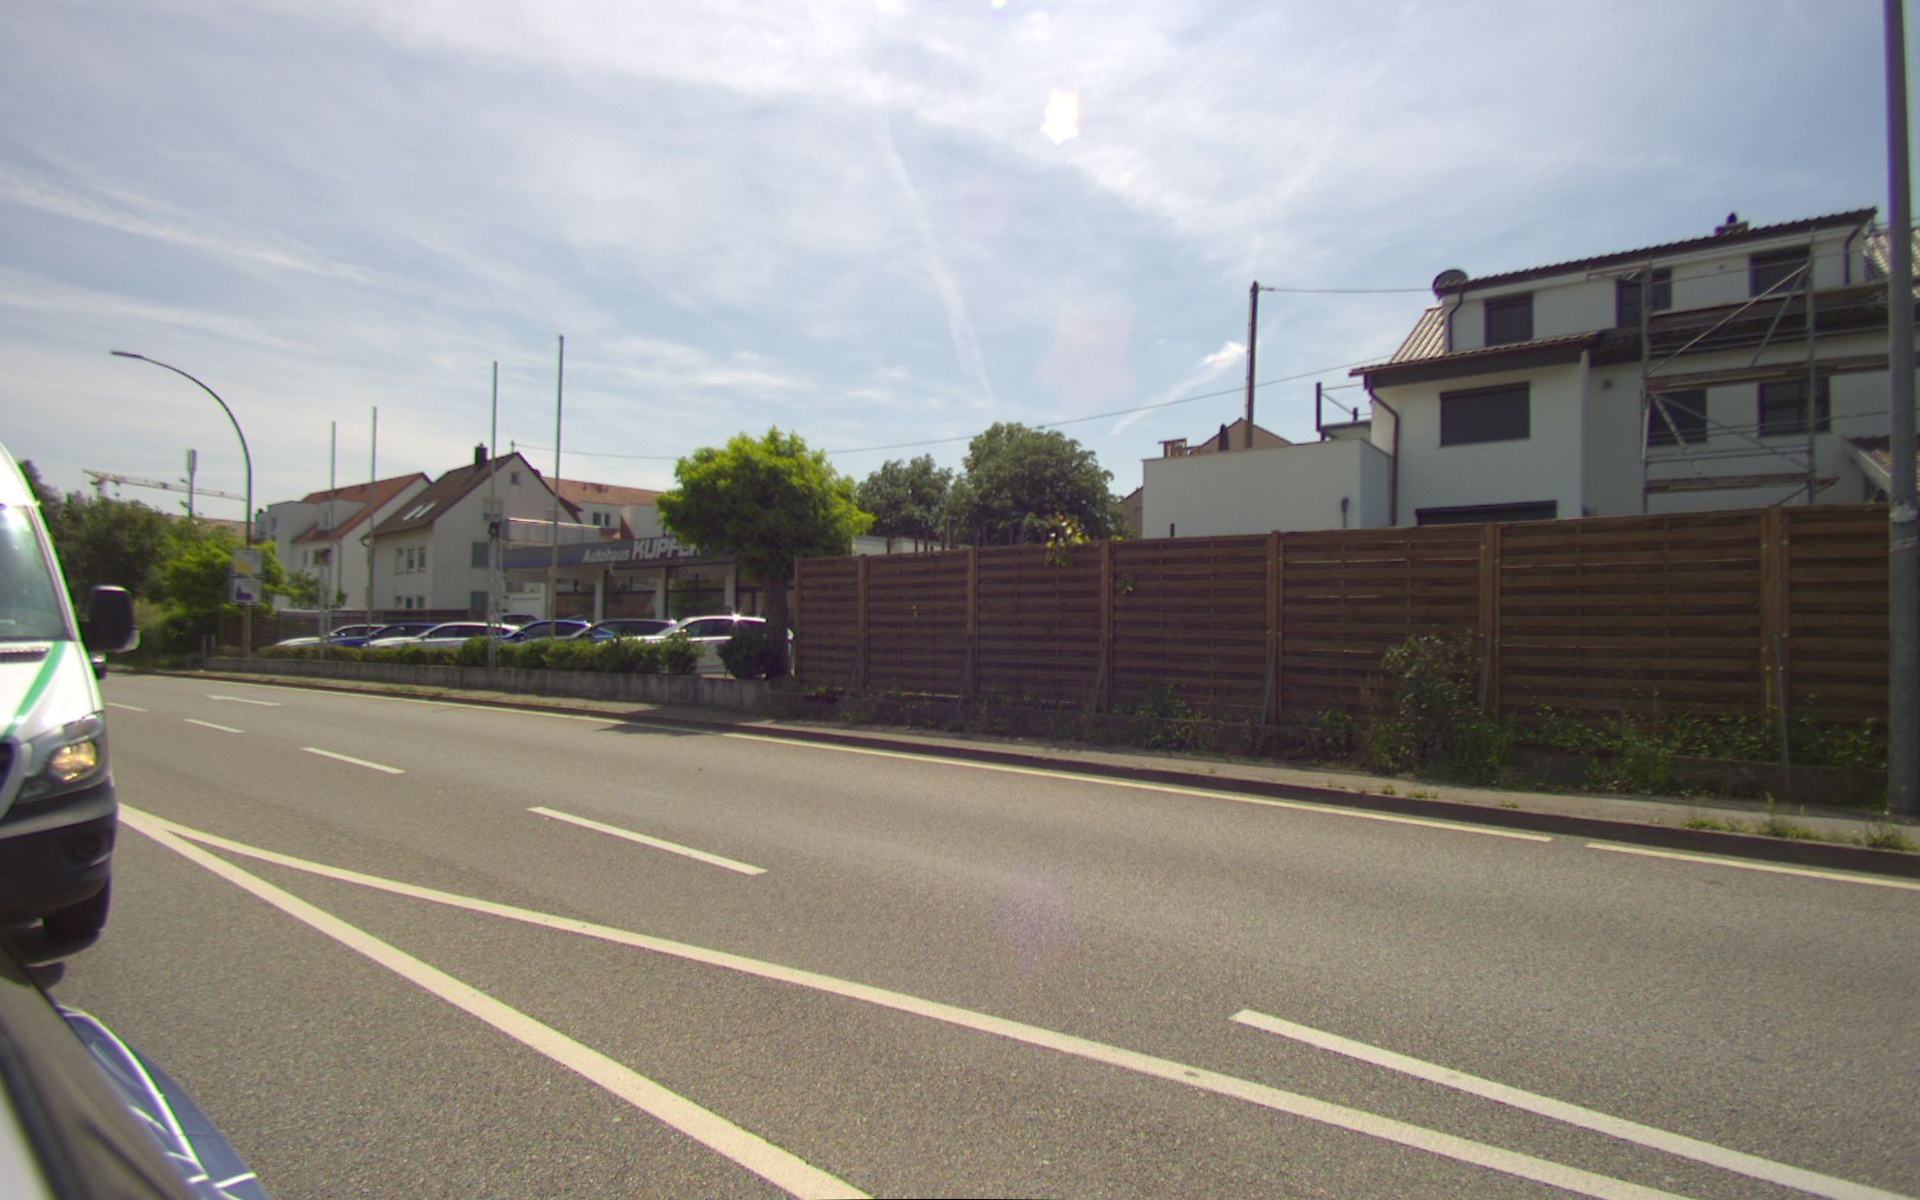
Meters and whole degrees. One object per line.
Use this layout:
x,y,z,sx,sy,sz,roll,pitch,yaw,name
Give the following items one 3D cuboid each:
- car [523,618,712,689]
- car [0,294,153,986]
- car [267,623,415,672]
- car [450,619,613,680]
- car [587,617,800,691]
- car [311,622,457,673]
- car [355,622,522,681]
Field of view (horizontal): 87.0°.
-8.450,1.269,25.021,4.187,1.557,1.856,-1,-1,-27,car
-6.122,0.218,5.231,5.628,2.619,1.953,-2,-1,40,car
-21.486,1.612,35.342,4.192,1.541,2.006,-1,-1,-24,car
-11.593,1.300,27.444,3.931,1.453,1.860,-1,-1,-25,car
-5.876,1.135,22.364,4.264,1.471,1.861,0,-1,-26,car
-18.520,1.510,32.757,3.930,1.475,2.006,-1,-1,-24,car
-15.271,1.479,29.905,4.238,1.530,2.006,-1,-1,-23,car
